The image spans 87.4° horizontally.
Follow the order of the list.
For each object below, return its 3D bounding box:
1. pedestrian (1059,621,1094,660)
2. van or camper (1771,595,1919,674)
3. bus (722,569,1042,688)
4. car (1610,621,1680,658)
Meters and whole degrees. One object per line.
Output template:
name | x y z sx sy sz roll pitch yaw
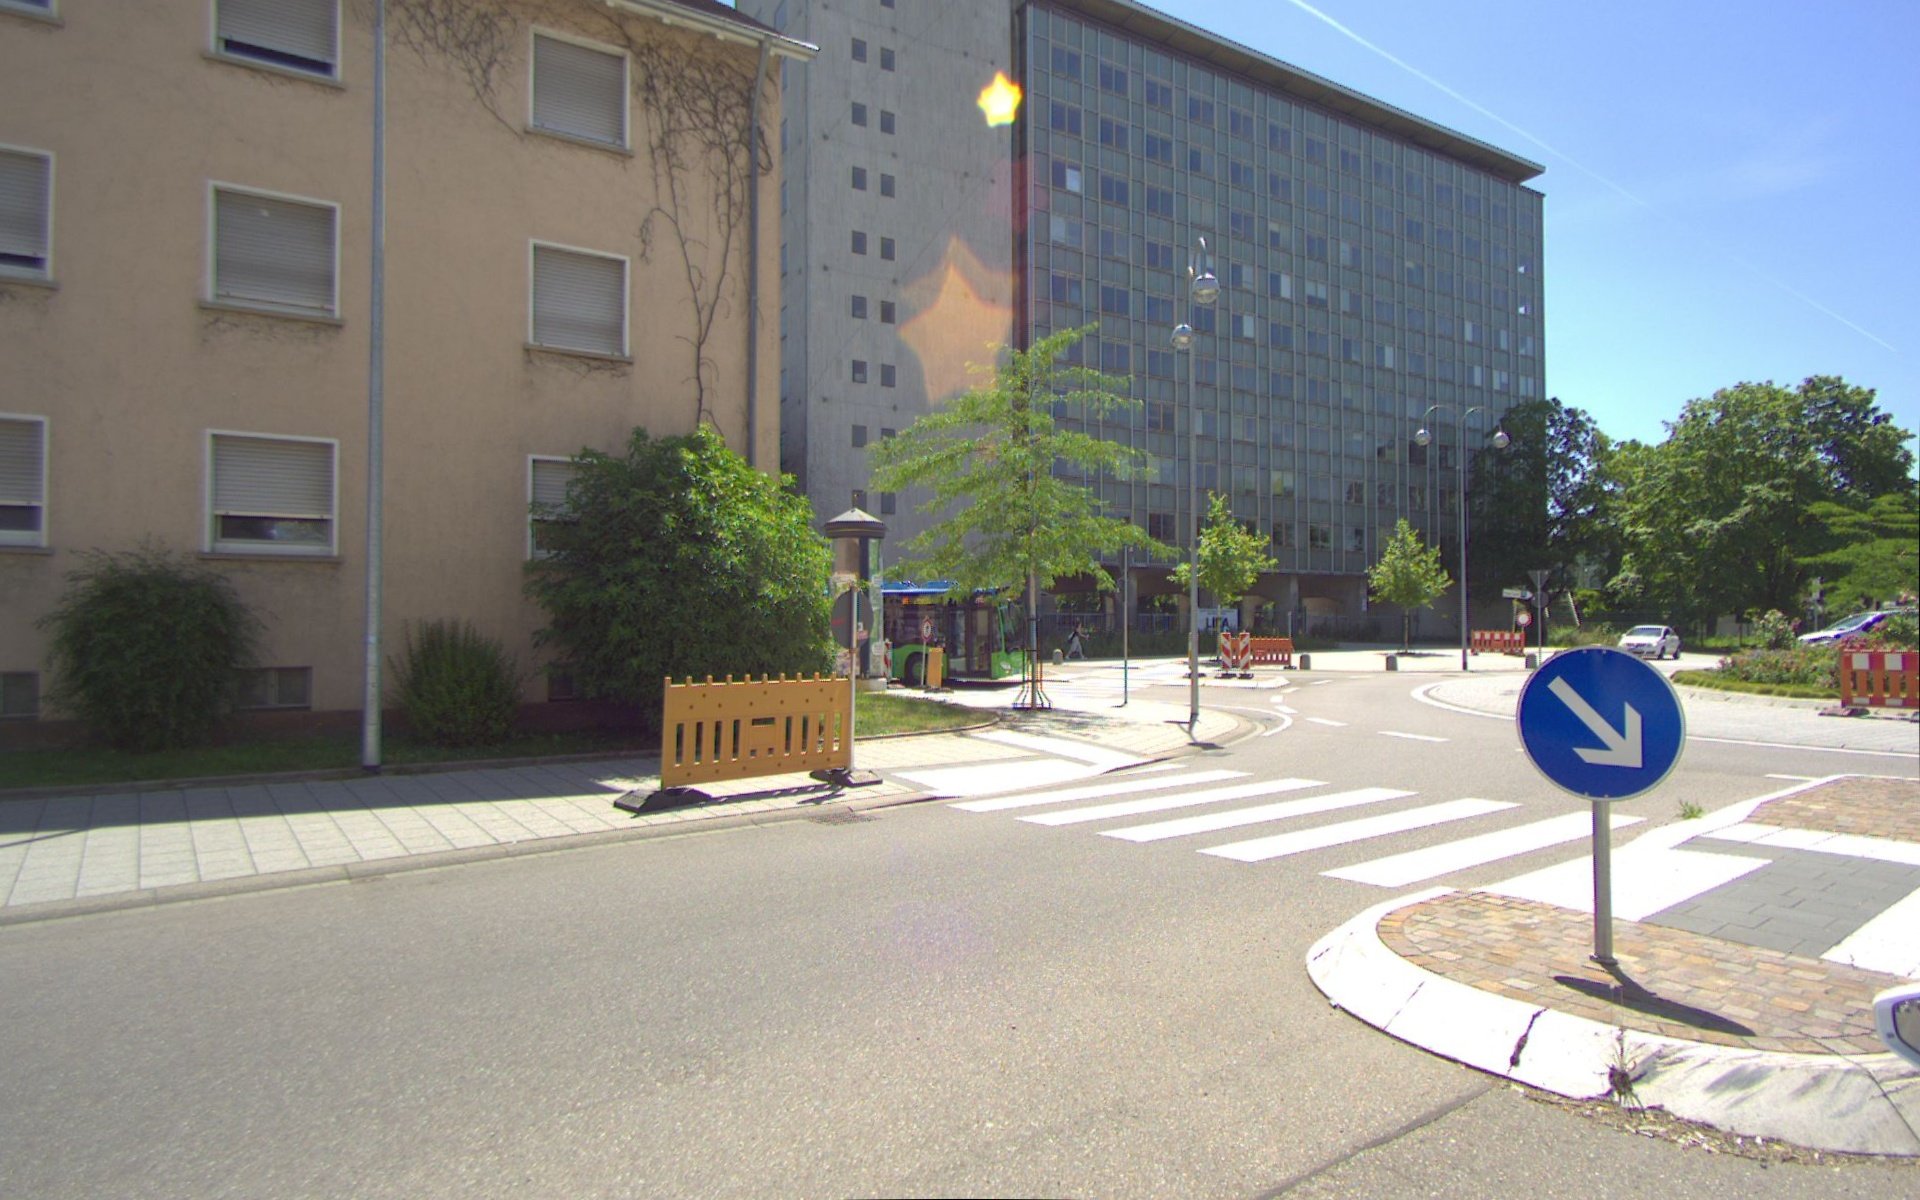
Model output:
pedestrian | 4.856 1.669 41.860 1.259 1.606 0.947 0 -1 -10
van or camper | 27.683 0.985 29.751 5.303 2.201 2.001 0 2 12
bus | -2.579 0.832 31.885 9.891 3.369 2.962 0 0 23
car | 30.992 1.758 45.408 3.891 1.618 1.769 2 -2 -42
